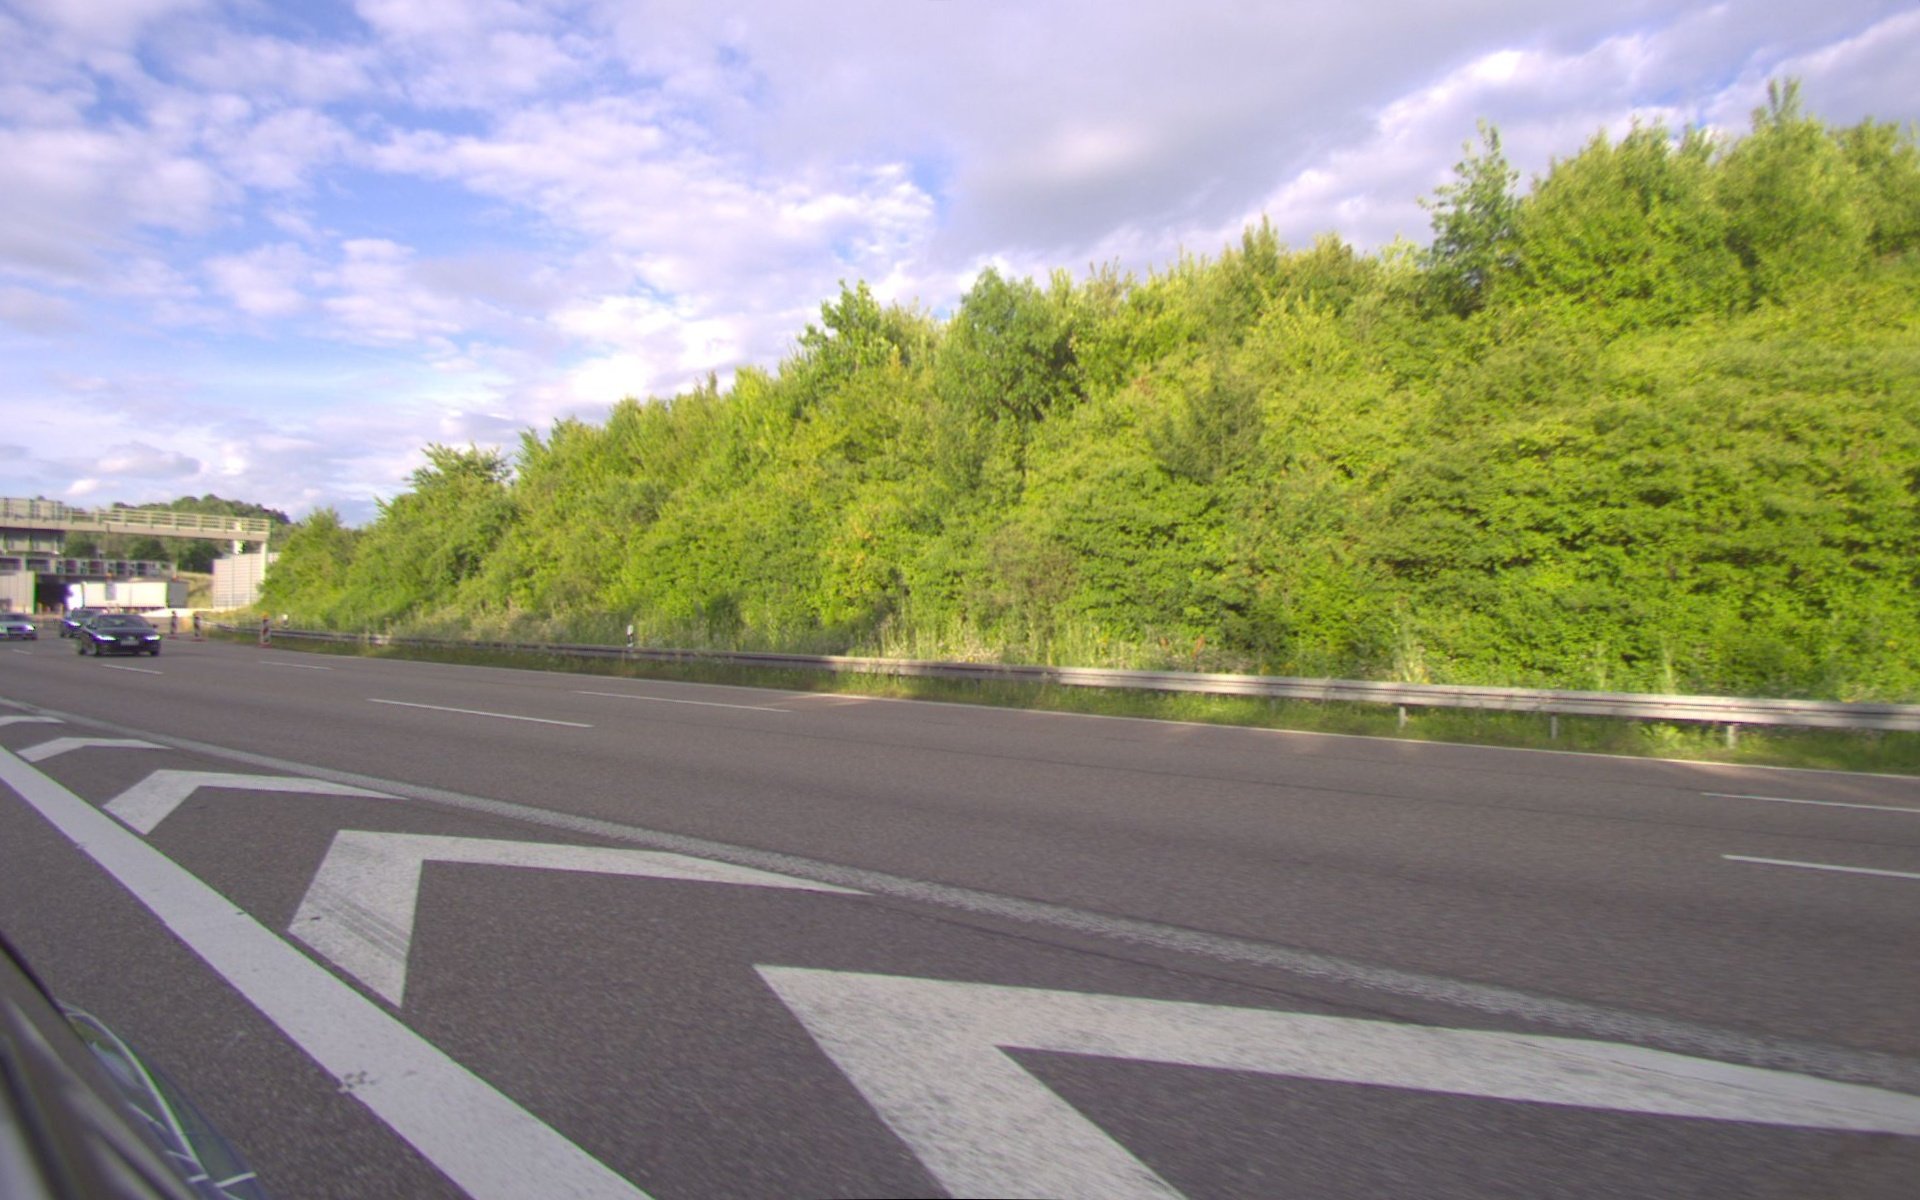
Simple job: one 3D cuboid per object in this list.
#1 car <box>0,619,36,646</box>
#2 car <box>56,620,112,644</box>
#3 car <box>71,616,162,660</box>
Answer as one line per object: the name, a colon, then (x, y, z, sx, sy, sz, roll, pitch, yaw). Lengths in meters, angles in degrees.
car: (-48.788, 1.642, 51.819, 3.998, 1.301, 1.774, -1, -2, 41)
car: (-48.794, 1.753, 56.337, 3.998, 1.301, 1.856, -1, -1, 41)
car: (-28.457, 1.240, 34.103, 3.998, 1.417, 1.739, -1, -2, 41)
